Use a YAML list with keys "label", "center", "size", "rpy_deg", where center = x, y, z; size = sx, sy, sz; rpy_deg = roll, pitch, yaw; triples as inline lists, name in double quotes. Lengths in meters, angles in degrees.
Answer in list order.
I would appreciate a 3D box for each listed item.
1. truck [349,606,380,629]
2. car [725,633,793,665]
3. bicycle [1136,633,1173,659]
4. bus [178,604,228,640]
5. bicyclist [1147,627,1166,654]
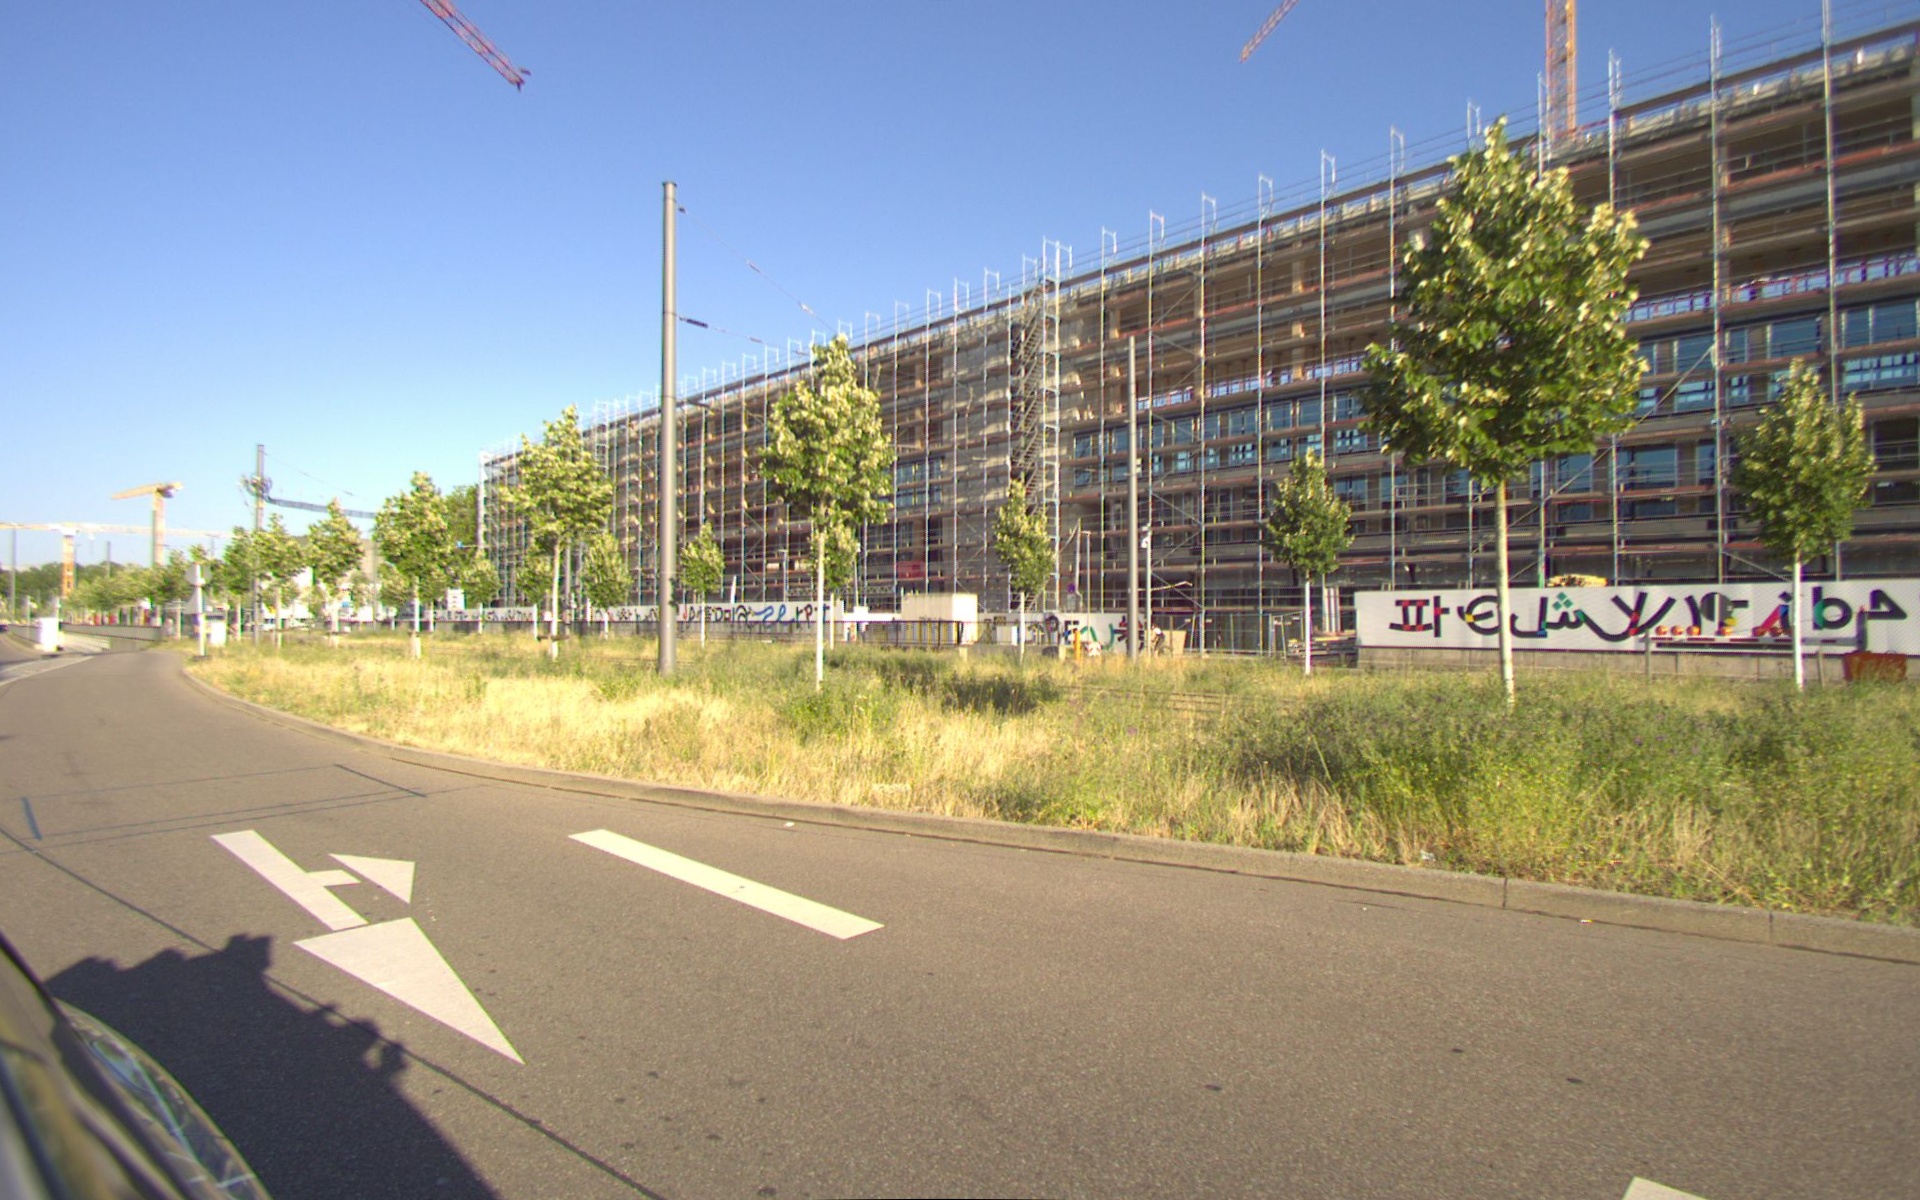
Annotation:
- label: "truck"
  center: [-68.023, 2.004, 115.580]
  size: [2.112, 2.593, 4.745]
  rpy_deg: [1, -2, -43]
- label: "car"
  center: [-10.406, 2.521, 52.291]
  size: [1.585, 1.570, 3.844]
  rpy_deg: [2, -2, -44]
- label: "bicycle"
  center: [8.357, 1.959, 43.446]
  size: [0.473, 1.069, 1.565]
  rpy_deg: [2, -2, -44]
- label: "bus"
  center: [-71.229, 2.081, 95.163]
  size: [2.685, 3.247, 8.662]
  rpy_deg: [1, -2, -44]
- label: "bicyclist"
  center: [8.424, 1.722, 43.383]
  size: [0.473, 1.163, 0.639]
  rpy_deg: [2, -2, -44]
